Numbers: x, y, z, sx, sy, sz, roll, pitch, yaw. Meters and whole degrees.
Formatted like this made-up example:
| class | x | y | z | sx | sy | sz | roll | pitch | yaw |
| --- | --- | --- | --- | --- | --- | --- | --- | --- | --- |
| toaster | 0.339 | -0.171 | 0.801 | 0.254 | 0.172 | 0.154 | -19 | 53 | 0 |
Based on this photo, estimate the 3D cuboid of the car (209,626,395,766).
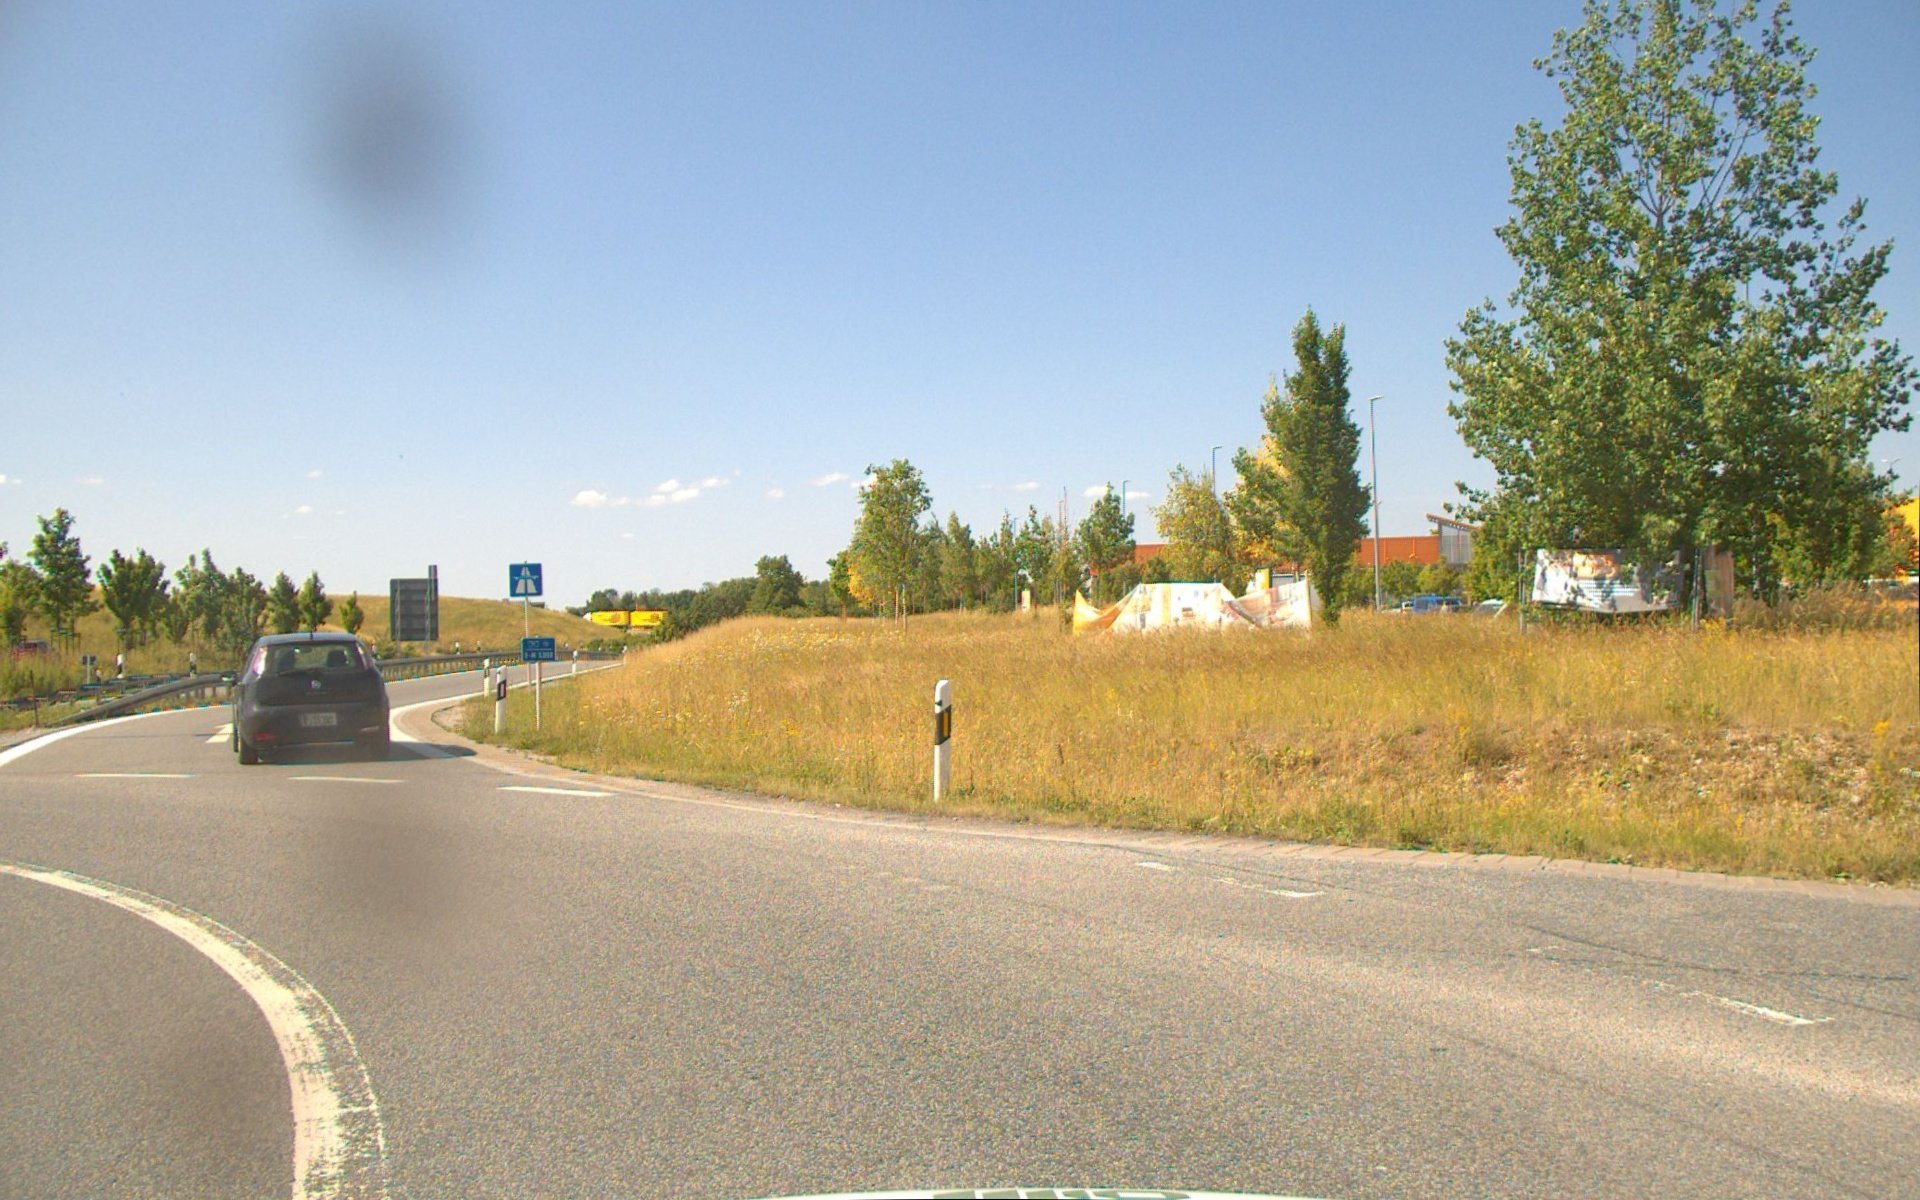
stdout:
| class | x | y | z | sx | sy | sz | roll | pitch | yaw |
| --- | --- | --- | --- | --- | --- | --- | --- | --- | --- |
| car | -8.174 | 1.116 | 20.367 | 1.622 | 1.514 | 3.865 | -1 | -1 | -30 |
